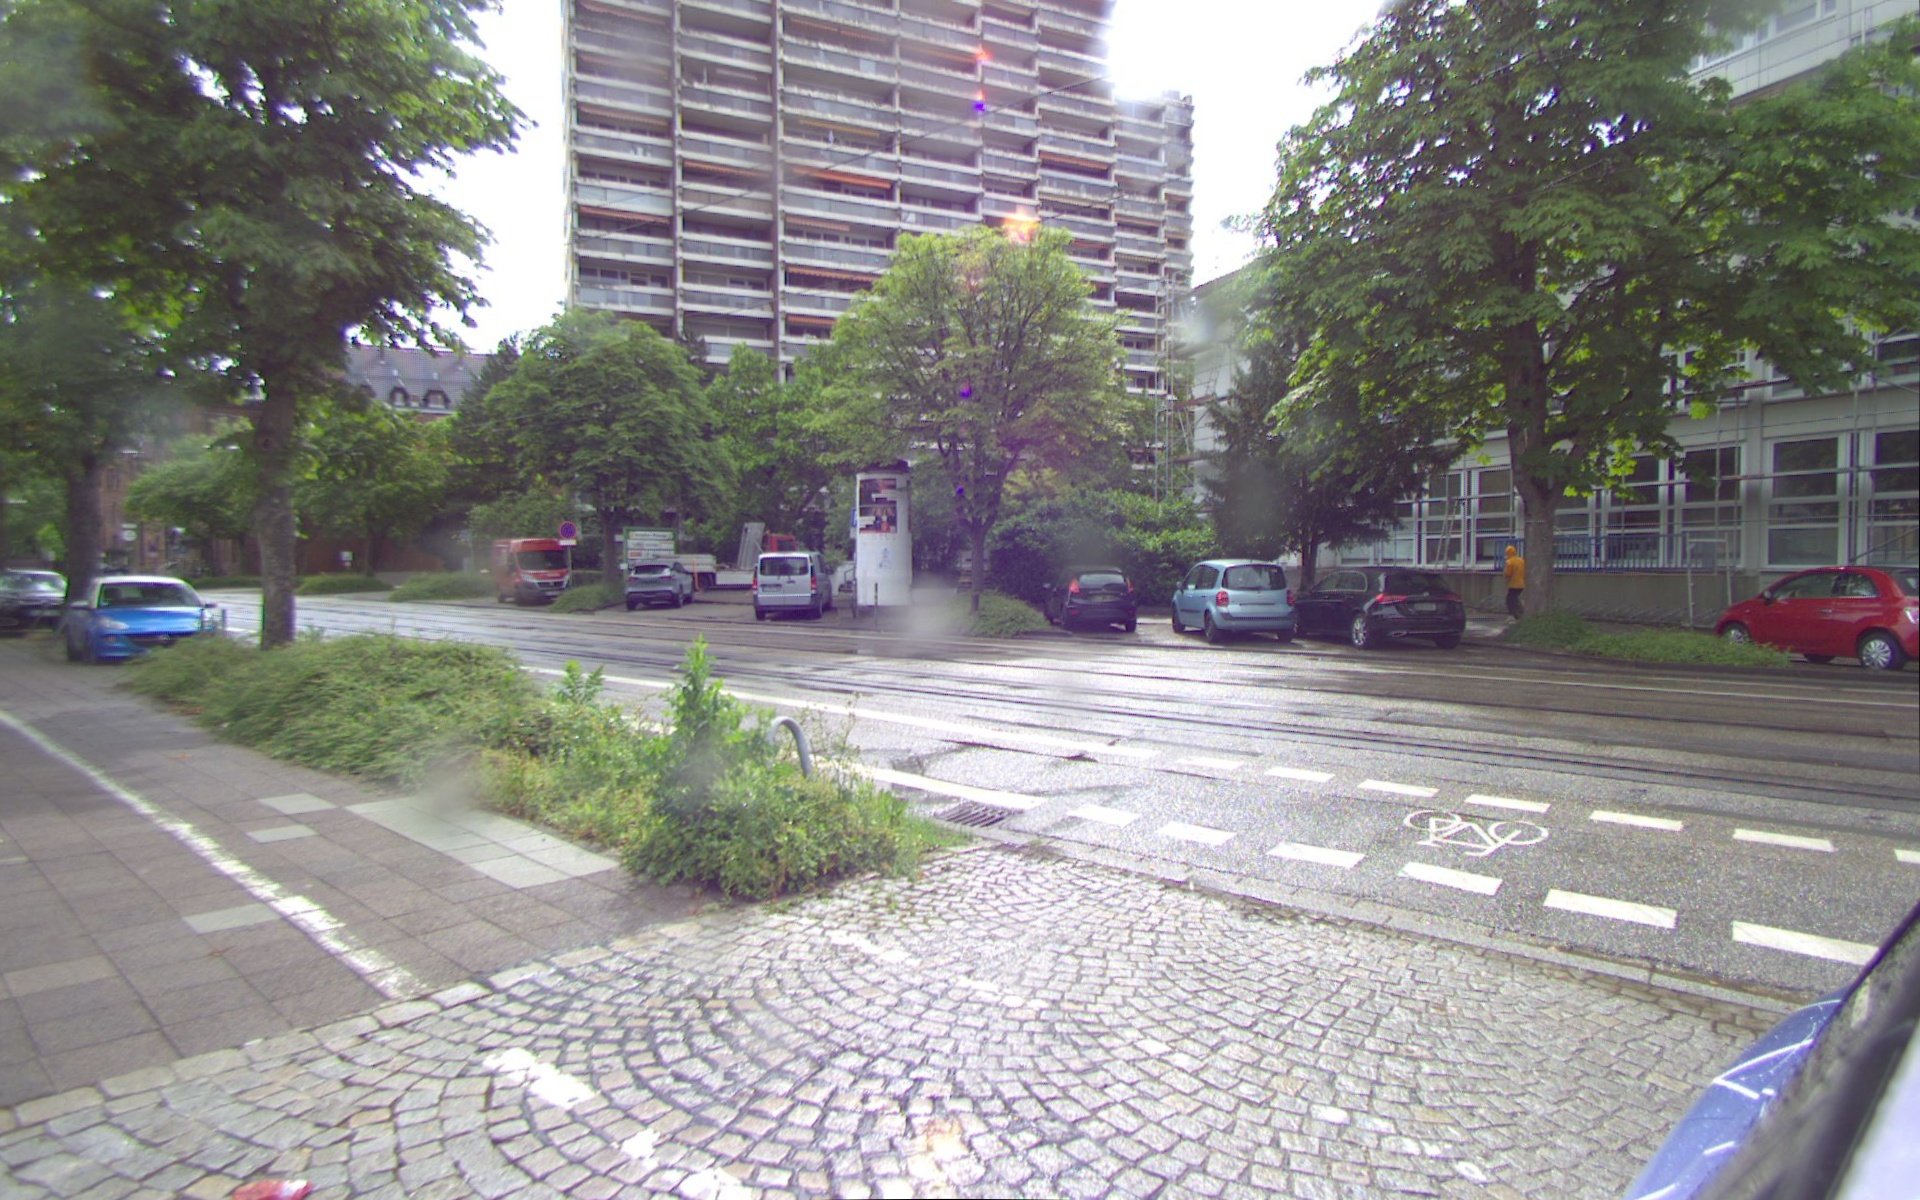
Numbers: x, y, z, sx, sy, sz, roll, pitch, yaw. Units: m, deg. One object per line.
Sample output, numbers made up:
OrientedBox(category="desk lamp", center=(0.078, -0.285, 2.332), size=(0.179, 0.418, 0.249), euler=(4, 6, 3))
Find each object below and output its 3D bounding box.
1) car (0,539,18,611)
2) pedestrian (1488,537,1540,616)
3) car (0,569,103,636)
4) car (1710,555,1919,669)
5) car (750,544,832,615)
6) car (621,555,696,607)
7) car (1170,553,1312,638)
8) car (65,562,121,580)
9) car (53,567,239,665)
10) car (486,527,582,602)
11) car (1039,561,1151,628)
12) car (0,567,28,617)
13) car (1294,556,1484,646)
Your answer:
OrientedBox(category="car", center=(-36.458, -0.869, 36.692), size=(6.121, 2.505, 2.561), euler=(0, 0, 39))
OrientedBox(category="pedestrian", center=(12.631, -0.535, 23.100), size=(0.694, 1.765, 0.839), euler=(0, 0, -1))
OrientedBox(category="car", center=(-22.365, 0.046, 24.270), size=(3.974, 1.489, 1.866), euler=(0, 0, 36))
OrientedBox(category="car", center=(13.162, 0.103, 14.748), size=(1.707, 1.487, 3.412), euler=(1, 2, -5))
OrientedBox(category="car", center=(-4.887, -0.652, 29.871), size=(1.900, 1.920, 4.650), euler=(0, 2, -3))
OrientedBox(category="car", center=(-10.387, -0.709, 35.125), size=(1.749, 1.584, 4.054), euler=(-1, 4, -6))
OrientedBox(category="car", center=(5.599, -0.162, 20.643), size=(1.675, 1.570, 3.654), euler=(-1, 2, -4))
OrientedBox(category="car", center=(-88.937, -2.953, 103.808), size=(4.228, 1.672, 1.994), euler=(-1, 1, -45))
OrientedBox(category="car", center=(-14.057, 0.221, 17.406), size=(3.983, 1.489, 1.862), euler=(0, 0, 41))
OrientedBox(category="car", center=(-16.451, -1.371, 38.912), size=(2.259, 2.666, 5.483), euler=(-1, 2, -36))
OrientedBox(category="car", center=(3.035, -0.183, 23.504), size=(1.734, 1.414, 3.656), euler=(-1, 2, -6))
OrientedBox(category="car", center=(-29.852, -0.270, 31.022), size=(1.788, 1.489, 4.061), euler=(0, 1, -44))
OrientedBox(category="car", center=(7.728, -0.061, 18.616), size=(1.707, 1.487, 3.655), euler=(-1, 2, -5))
